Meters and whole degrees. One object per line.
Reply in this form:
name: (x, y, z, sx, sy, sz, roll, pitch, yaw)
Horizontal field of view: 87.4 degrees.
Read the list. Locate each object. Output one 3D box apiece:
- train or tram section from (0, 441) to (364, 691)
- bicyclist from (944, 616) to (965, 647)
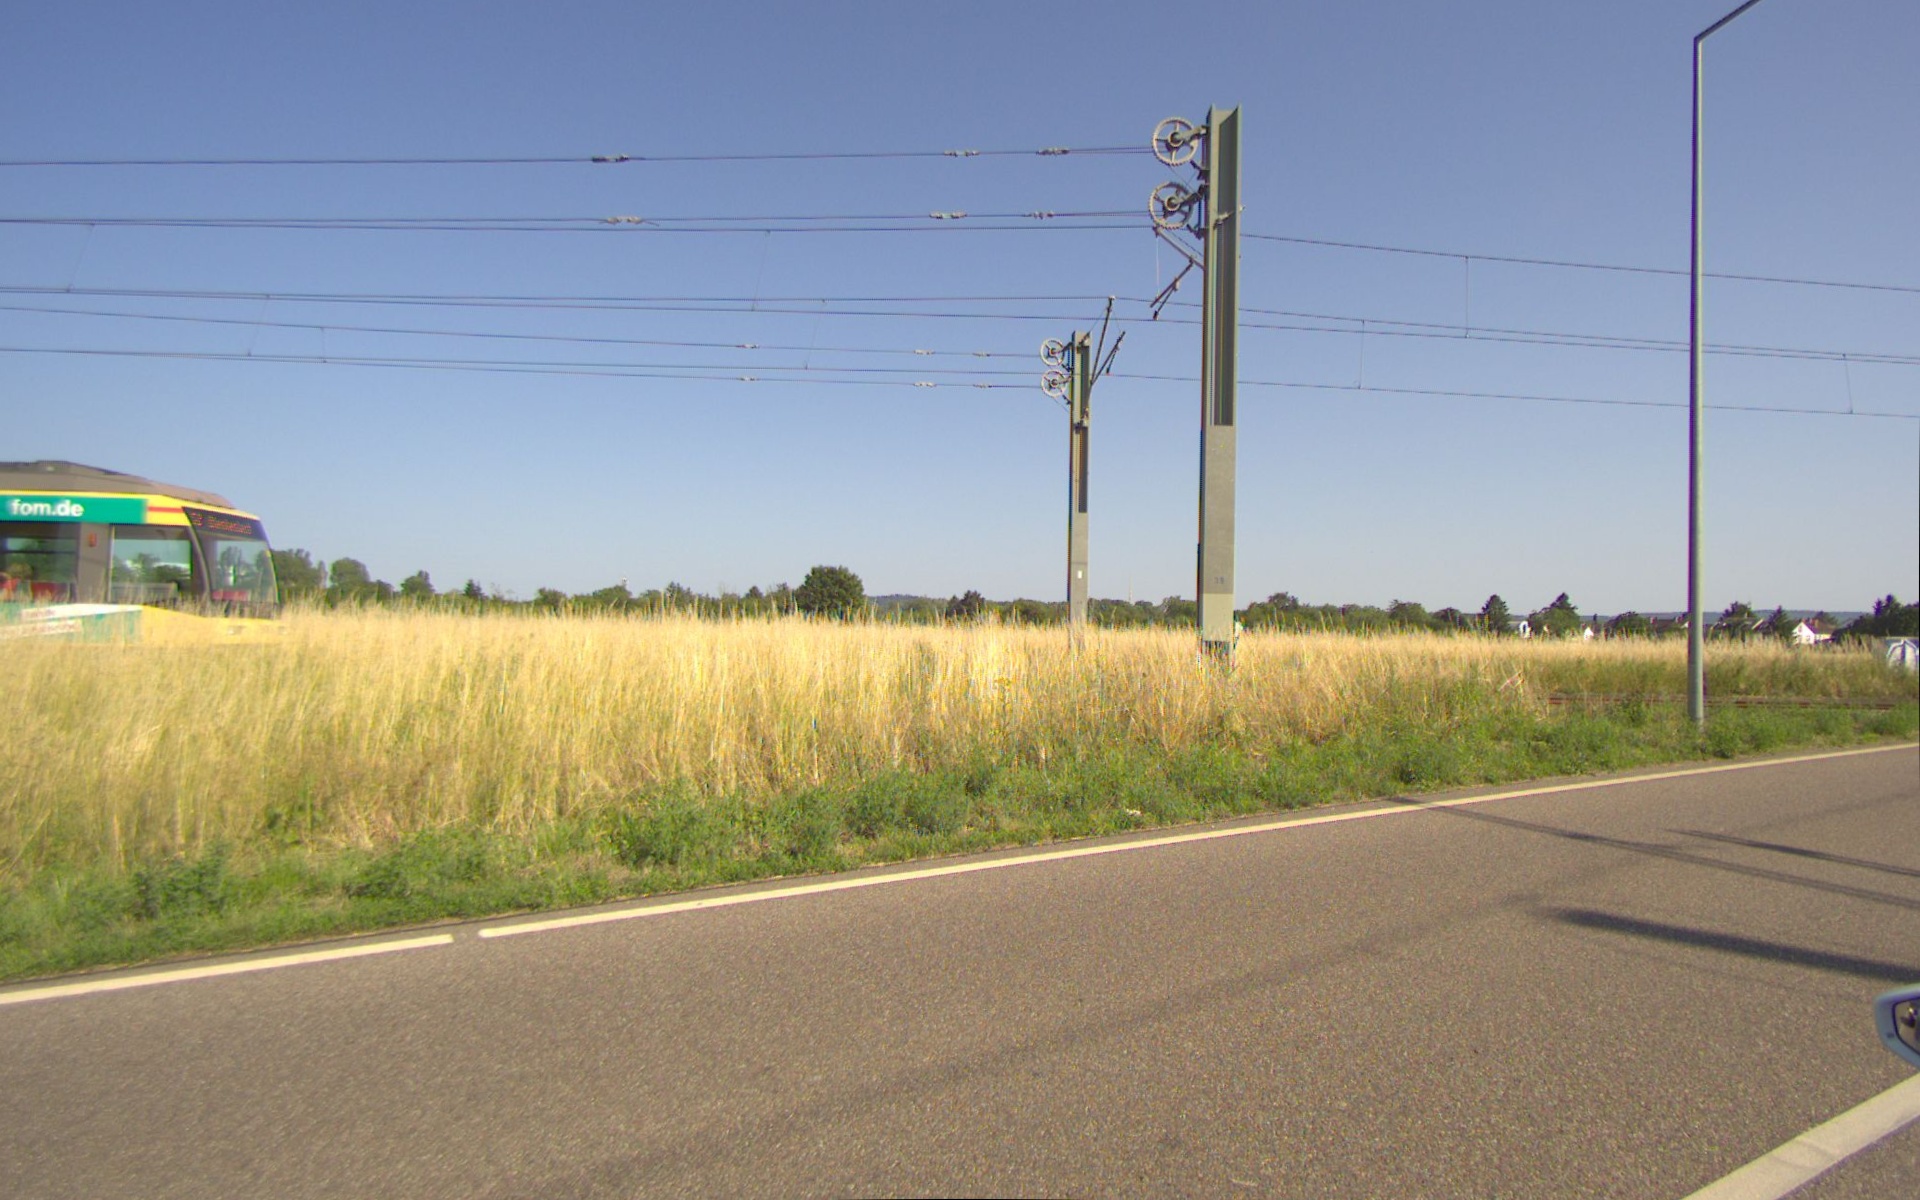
train or tram section: (-17.950, -0.775, 16.664, 13.985, 3.615, 2.915, 3, 0, -2)
bicyclist: (-0.214, 1.275, 40.323, 0.775, 1.221, 0.604, 1, -1, -7)
